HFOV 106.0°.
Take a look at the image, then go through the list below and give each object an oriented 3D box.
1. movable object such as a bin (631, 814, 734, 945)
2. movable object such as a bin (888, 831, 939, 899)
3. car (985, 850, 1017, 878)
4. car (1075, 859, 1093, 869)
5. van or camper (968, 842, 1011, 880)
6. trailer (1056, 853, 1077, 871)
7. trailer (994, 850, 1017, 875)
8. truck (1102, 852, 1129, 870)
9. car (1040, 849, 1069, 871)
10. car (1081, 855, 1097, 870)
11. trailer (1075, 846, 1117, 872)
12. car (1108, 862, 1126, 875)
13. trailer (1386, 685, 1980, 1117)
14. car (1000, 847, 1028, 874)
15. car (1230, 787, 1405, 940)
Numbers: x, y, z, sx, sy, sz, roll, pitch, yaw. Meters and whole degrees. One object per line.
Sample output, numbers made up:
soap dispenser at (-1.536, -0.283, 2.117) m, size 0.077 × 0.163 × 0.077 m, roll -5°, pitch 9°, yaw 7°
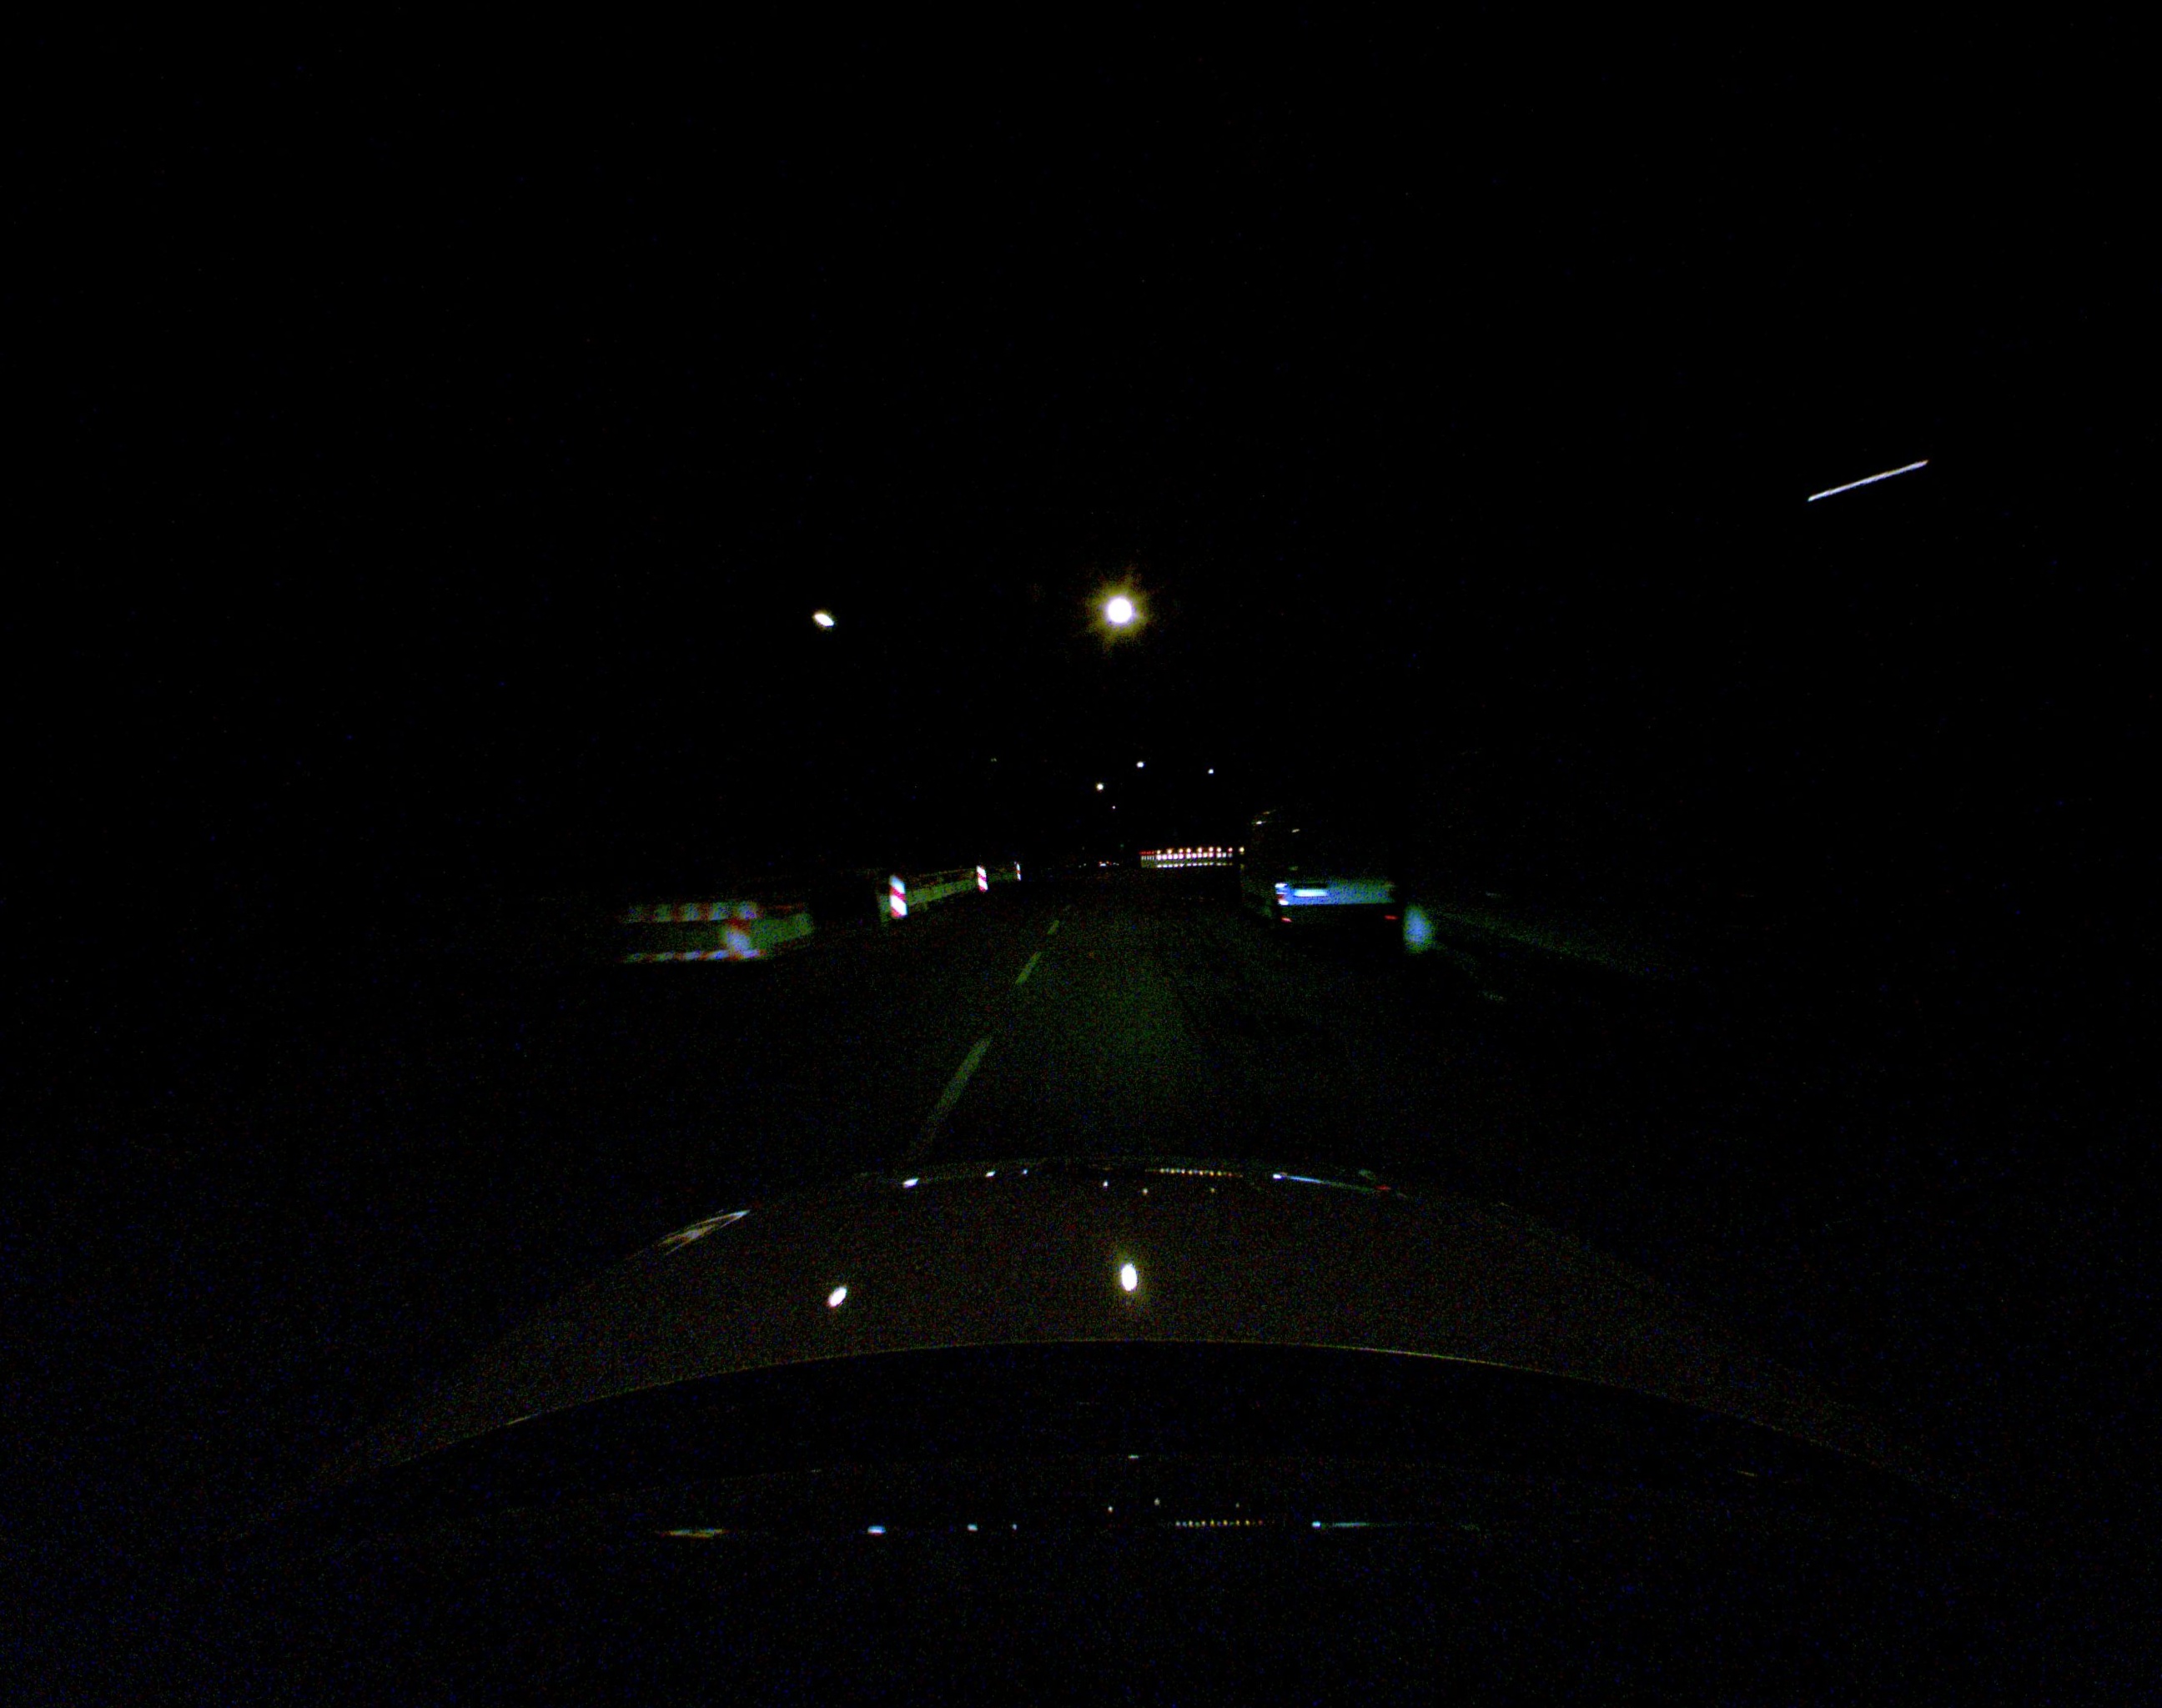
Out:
movable object such as a bin at (-8.327, 0.508, 17.220) m, size 1.553 × 2.467 × 2.820 m, roll -3°, pitch -1°, yaw -20°
movable object such as a bin at (-7.295, 0.446, 35.748) m, size 1.568 × 2.733 × 3.693 m, roll -5°, pitch 1°, yaw -6°
car at (-8.102, 1.022, 83.288) m, size 2.511 × 2.606 × 7.089 m, roll -4°, pitch -1°, yaw 0°
car at (0.564, 1.804, 144.016) m, size 1.978 × 1.699 × 4.224 m, roll -2°, pitch -1°, yaw 16°
van or camper at (-8.159, 0.661, 73.417) m, size 2.509 × 3.094 × 7.449 m, roll -4°, pitch -1°, yaw 2°
trailer at (-2.355, 1.282, 133.033) m, size 1.978 × 2.813 × 4.722 m, roll -2°, pitch 0°, yaw 16°
trailer at (-8.242, 0.944, 89.321) m, size 1.987 × 2.527 × 3.568 m, roll -4°, pitch 0°, yaw 1°
truck at (6.922, 1.287, 161.596) m, size 1.975 × 3.404 × 9.031 m, roll -1°, pitch 0°, yaw 25°
car at (-4.060, 0.862, 126.648) m, size 2.500 × 3.171 × 7.166 m, roll -4°, pitch -1°, yaw 15°
car at (0.884, 0.992, 91.502) m, size 1.714 × 1.661 × 4.001 m, roll -1°, pitch -1°, yaw 2°
trailer at (1.353, 0.504, 76.446) m, size 1.568 × 2.160 × 5.175 m, roll -3°, pitch -1°, yaw -26°
car at (5.276, 2.123, 119.945) m, size 1.707 × 1.821 × 4.017 m, roll -1°, pitch -1°, yaw 16°
trailer at (4.427, 0.252, 7.235) m, size 1.626 × 2.473 × 5.029 m, roll -1°, pitch 0°, yaw 1°
car at (-7.926, 0.799, 96.822) m, size 2.511 × 2.927 × 7.199 m, roll -4°, pitch -1°, yaw 0°
car at (4.537, 0.139, 16.799) m, size 2.099 × 2.516 × 6.378 m, roll -1°, pitch 0°, yaw 4°
